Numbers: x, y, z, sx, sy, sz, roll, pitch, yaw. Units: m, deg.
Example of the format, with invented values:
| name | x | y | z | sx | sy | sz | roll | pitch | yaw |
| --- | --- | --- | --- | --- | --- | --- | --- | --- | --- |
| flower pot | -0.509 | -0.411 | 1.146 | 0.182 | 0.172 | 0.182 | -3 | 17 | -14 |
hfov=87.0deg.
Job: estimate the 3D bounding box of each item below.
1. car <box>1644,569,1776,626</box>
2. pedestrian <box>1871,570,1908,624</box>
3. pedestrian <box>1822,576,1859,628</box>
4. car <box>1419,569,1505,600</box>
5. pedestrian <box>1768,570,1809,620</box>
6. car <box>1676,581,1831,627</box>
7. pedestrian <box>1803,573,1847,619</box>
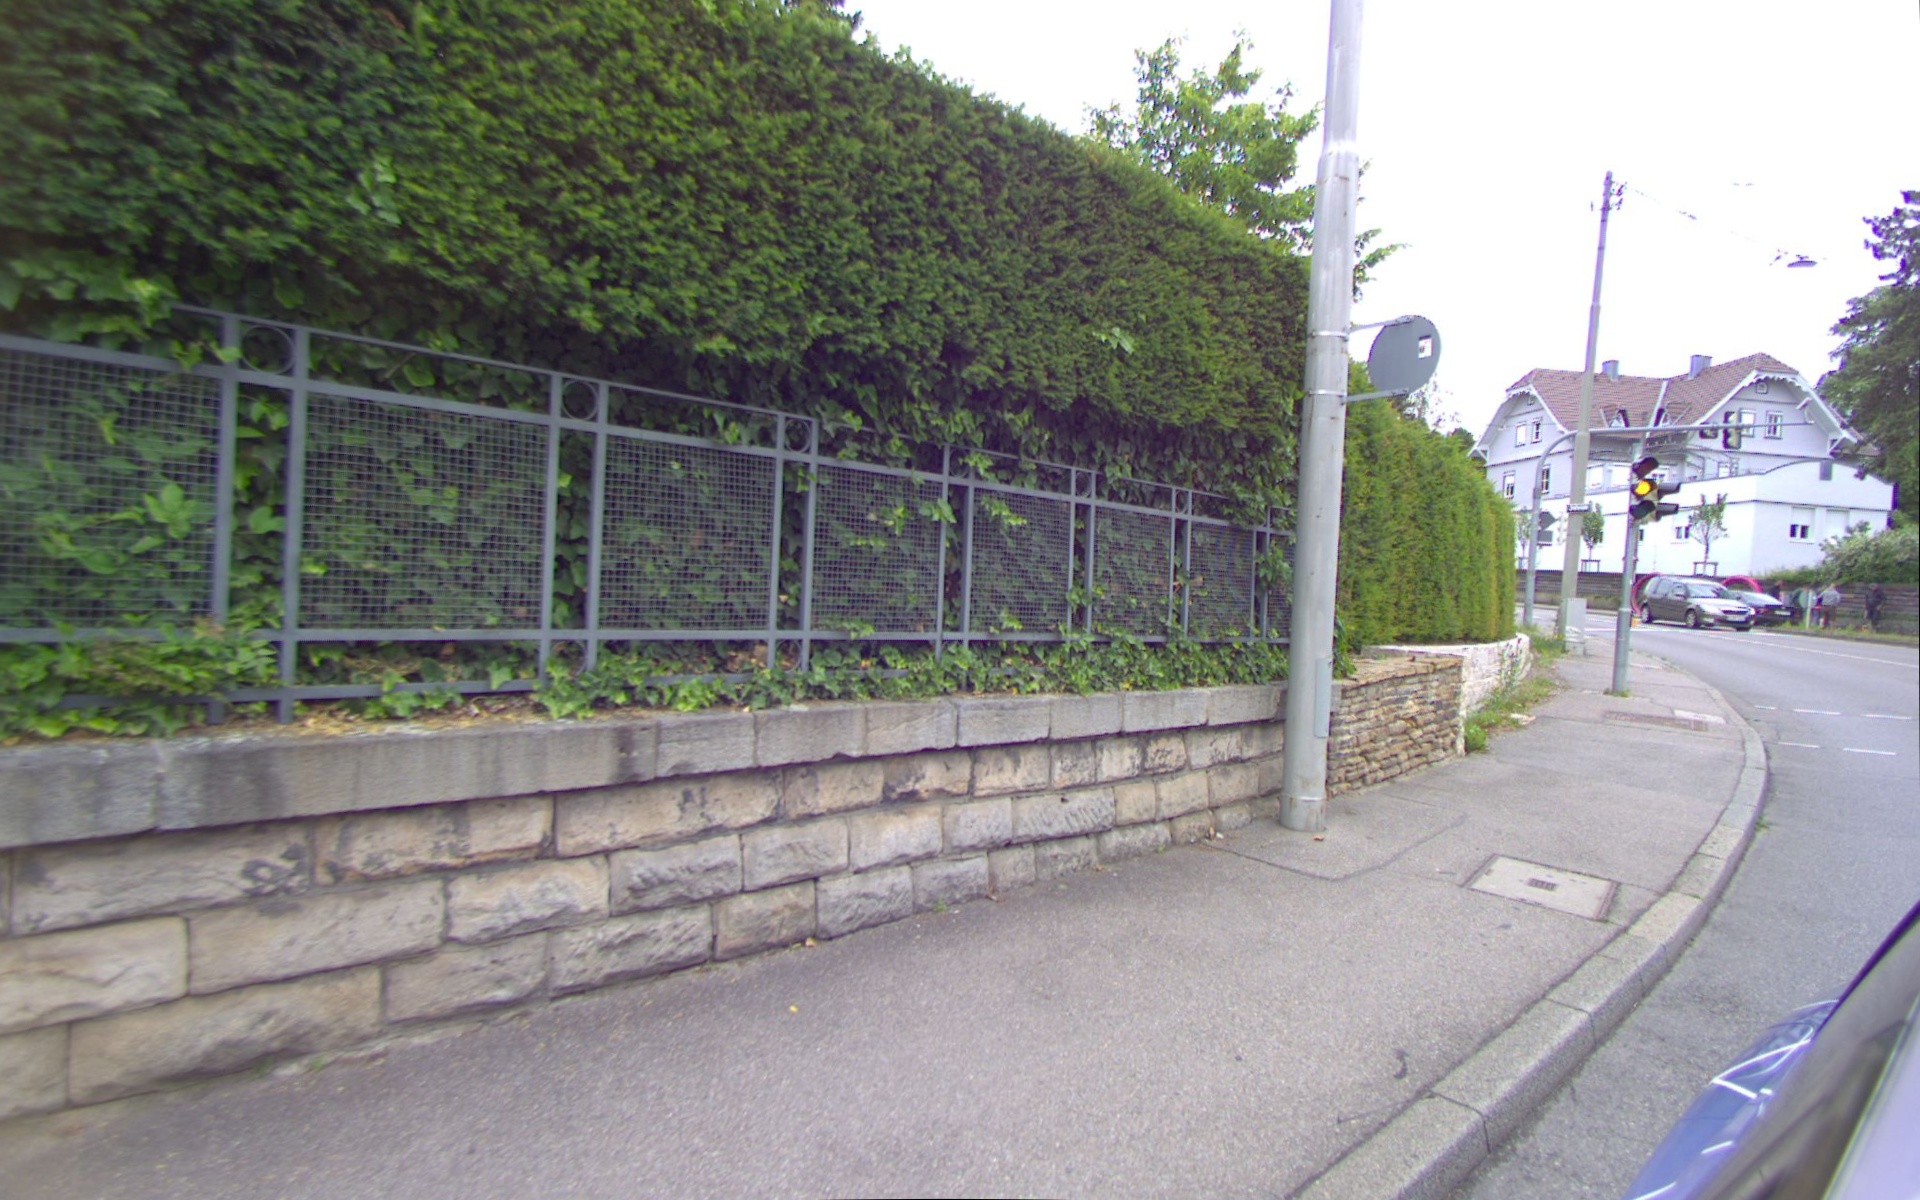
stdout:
| name | x | y | z | sx | sy | sz | roll | pitch | yaw |
| --- | --- | --- | --- | --- | --- | --- | --- | --- | --- |
| car | 23.674 | -0.128 | 32.120 | 1.591 | 1.599 | 3.994 | 2 | 3 | 8 |
| pedestrian | 33.011 | -0.121 | 35.932 | 0.591 | 1.857 | 0.614 | 3 | 2 | -10 |
| pedestrian | 31.922 | 0.072 | 36.684 | 0.600 | 1.809 | 0.668 | 3 | 2 | -9 |
| car | 27.242 | -0.895 | 55.135 | 1.961 | 1.440 | 5.062 | 2 | 3 | -2 |
| pedestrian | 31.559 | -0.202 | 38.546 | 0.862 | 1.836 | 0.689 | 2 | 2 | -9 |
| car | 28.911 | 0.092 | 37.121 | 1.817 | 1.344 | 4.870 | 3 | 3 | 1 |
| pedestrian | 32.212 | -0.153 | 37.690 | 0.862 | 1.673 | 0.753 | 2 | 2 | -9 |
